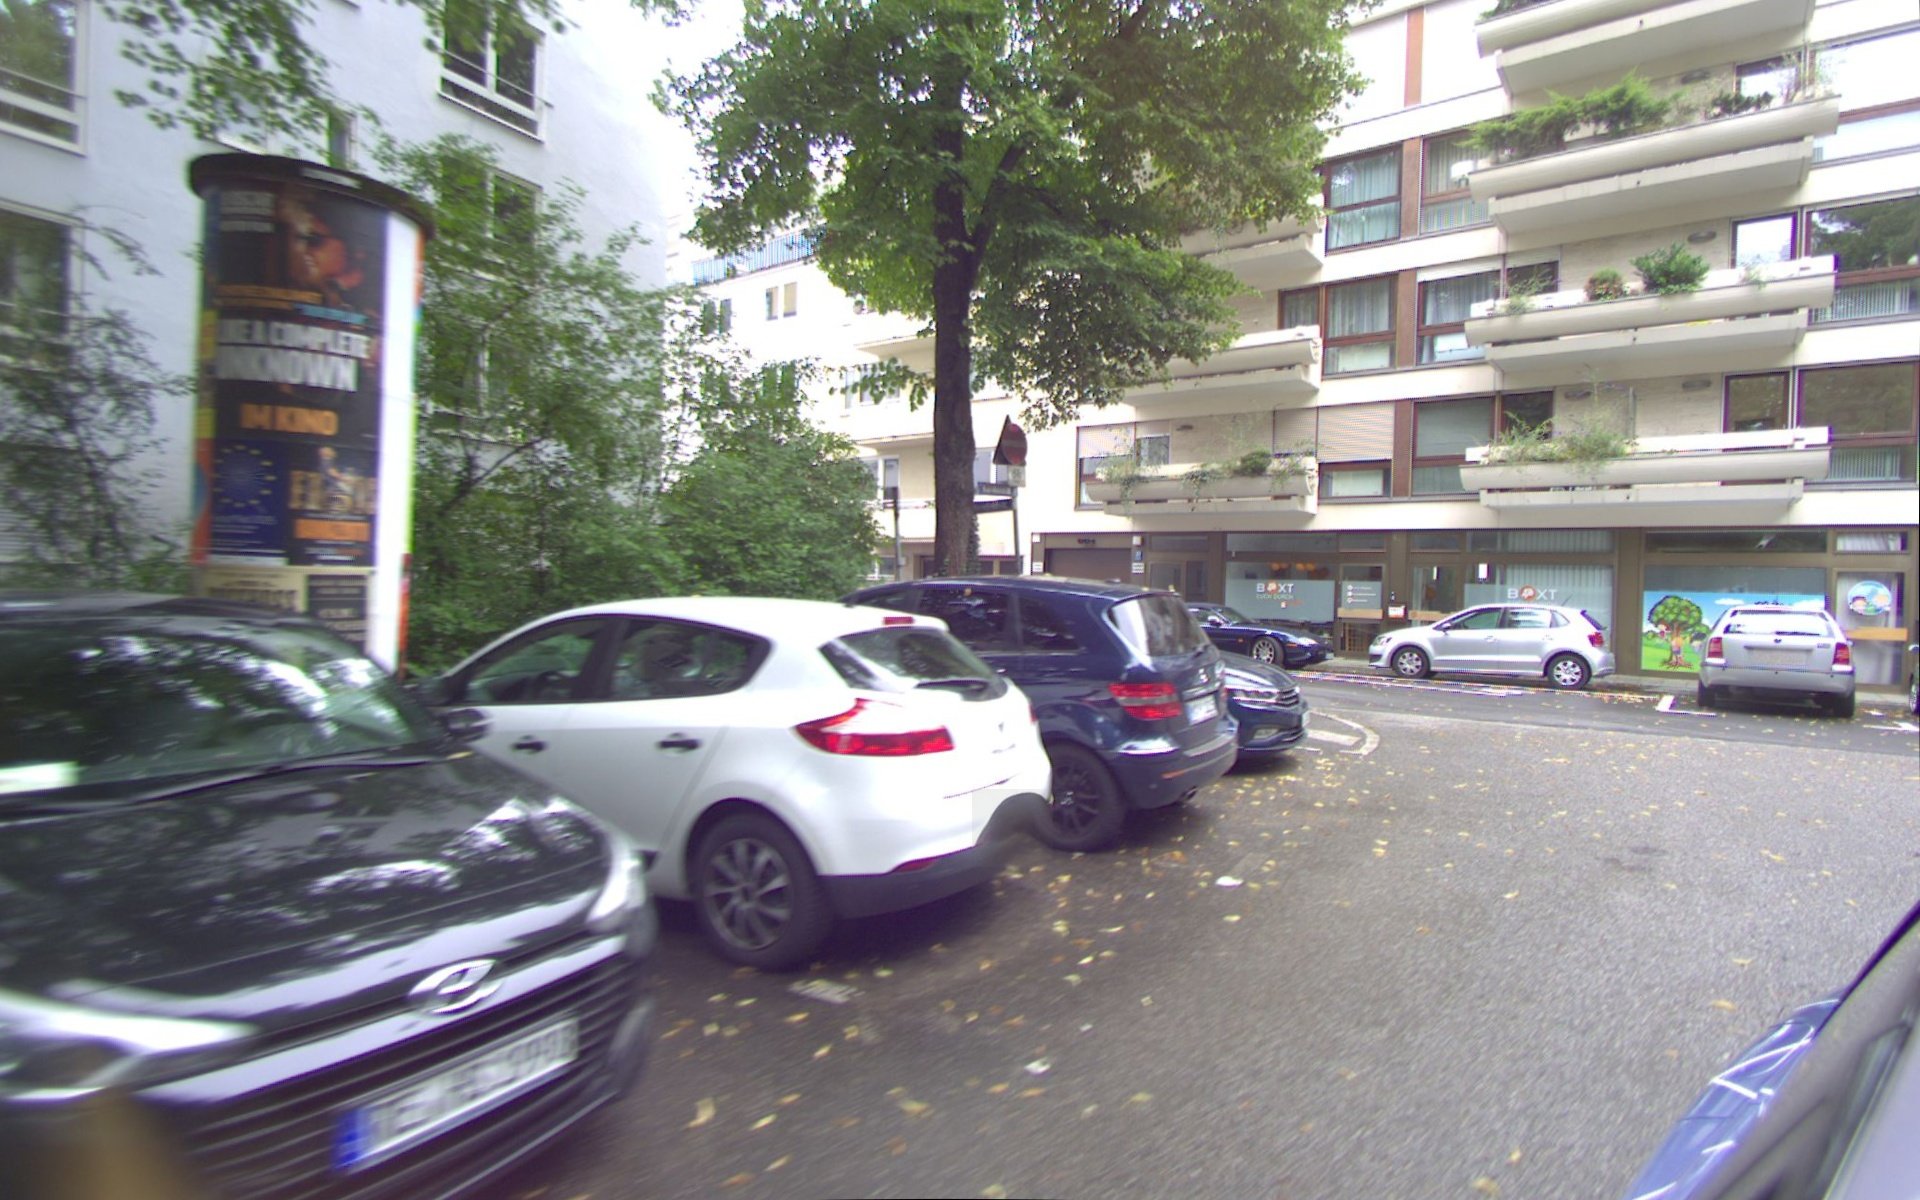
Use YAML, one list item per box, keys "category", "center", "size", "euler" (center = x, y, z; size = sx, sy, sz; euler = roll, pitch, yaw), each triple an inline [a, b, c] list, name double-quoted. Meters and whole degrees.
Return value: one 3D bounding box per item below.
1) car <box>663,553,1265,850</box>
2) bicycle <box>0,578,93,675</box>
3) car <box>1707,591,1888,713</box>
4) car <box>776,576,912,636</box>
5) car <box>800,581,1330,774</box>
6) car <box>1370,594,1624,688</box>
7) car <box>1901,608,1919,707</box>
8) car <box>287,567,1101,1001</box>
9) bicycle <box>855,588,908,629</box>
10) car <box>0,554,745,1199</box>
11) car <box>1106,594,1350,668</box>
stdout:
- category: "car"
  center: [-0.064, 0.484, 7.174]
  size: [3.954, 1.575, 1.737]
  euler: [2, 1, 32]
- category: "bicycle"
  center: [-10.837, 0.292, 11.293]
  size: [0.535, 1.035, 1.684]
  euler: [5, 3, 30]
- category: "car"
  center: [11.922, 0.731, 14.647]
  size: [1.711, 1.473, 4.185]
  euler: [1, -2, 36]
- category: "car"
  center: [-3.291, 0.142, 28.427]
  size: [3.686, 1.515, 1.604]
  euler: [2, 0, 36]
- category: "car"
  center: [0.946, 0.562, 9.697]
  size: [4.689, 1.394, 1.941]
  euler: [2, 1, 28]
- category: "car"
  center: [9.495, 0.670, 18.010]
  size: [3.810, 1.439, 1.545]
  euler: [2, -1, 36]
- category: "car"
  center: [13.729, 0.797, 13.128]
  size: [1.707, 1.385, 4.018]
  euler: [1, -1, 36]
- category: "car"
  center: [-1.431, 0.601, 5.256]
  size: [3.911, 1.465, 1.809]
  euler: [2, 1, 28]
- category: "bicycle"
  center: [-2.377, 0.244, 30.469]
  size: [1.750, 1.163, 0.462]
  euler: [1, 1, 38]
- category: "car"
  center: [-2.745, 0.579, 3.123]
  size: [4.066, 1.411, 1.714]
  euler: [2, 1, 33]
- category: "car"
  center: [5.496, 0.598, 21.047]
  size: [4.590, 1.294, 1.779]
  euler: [2, -1, 37]
